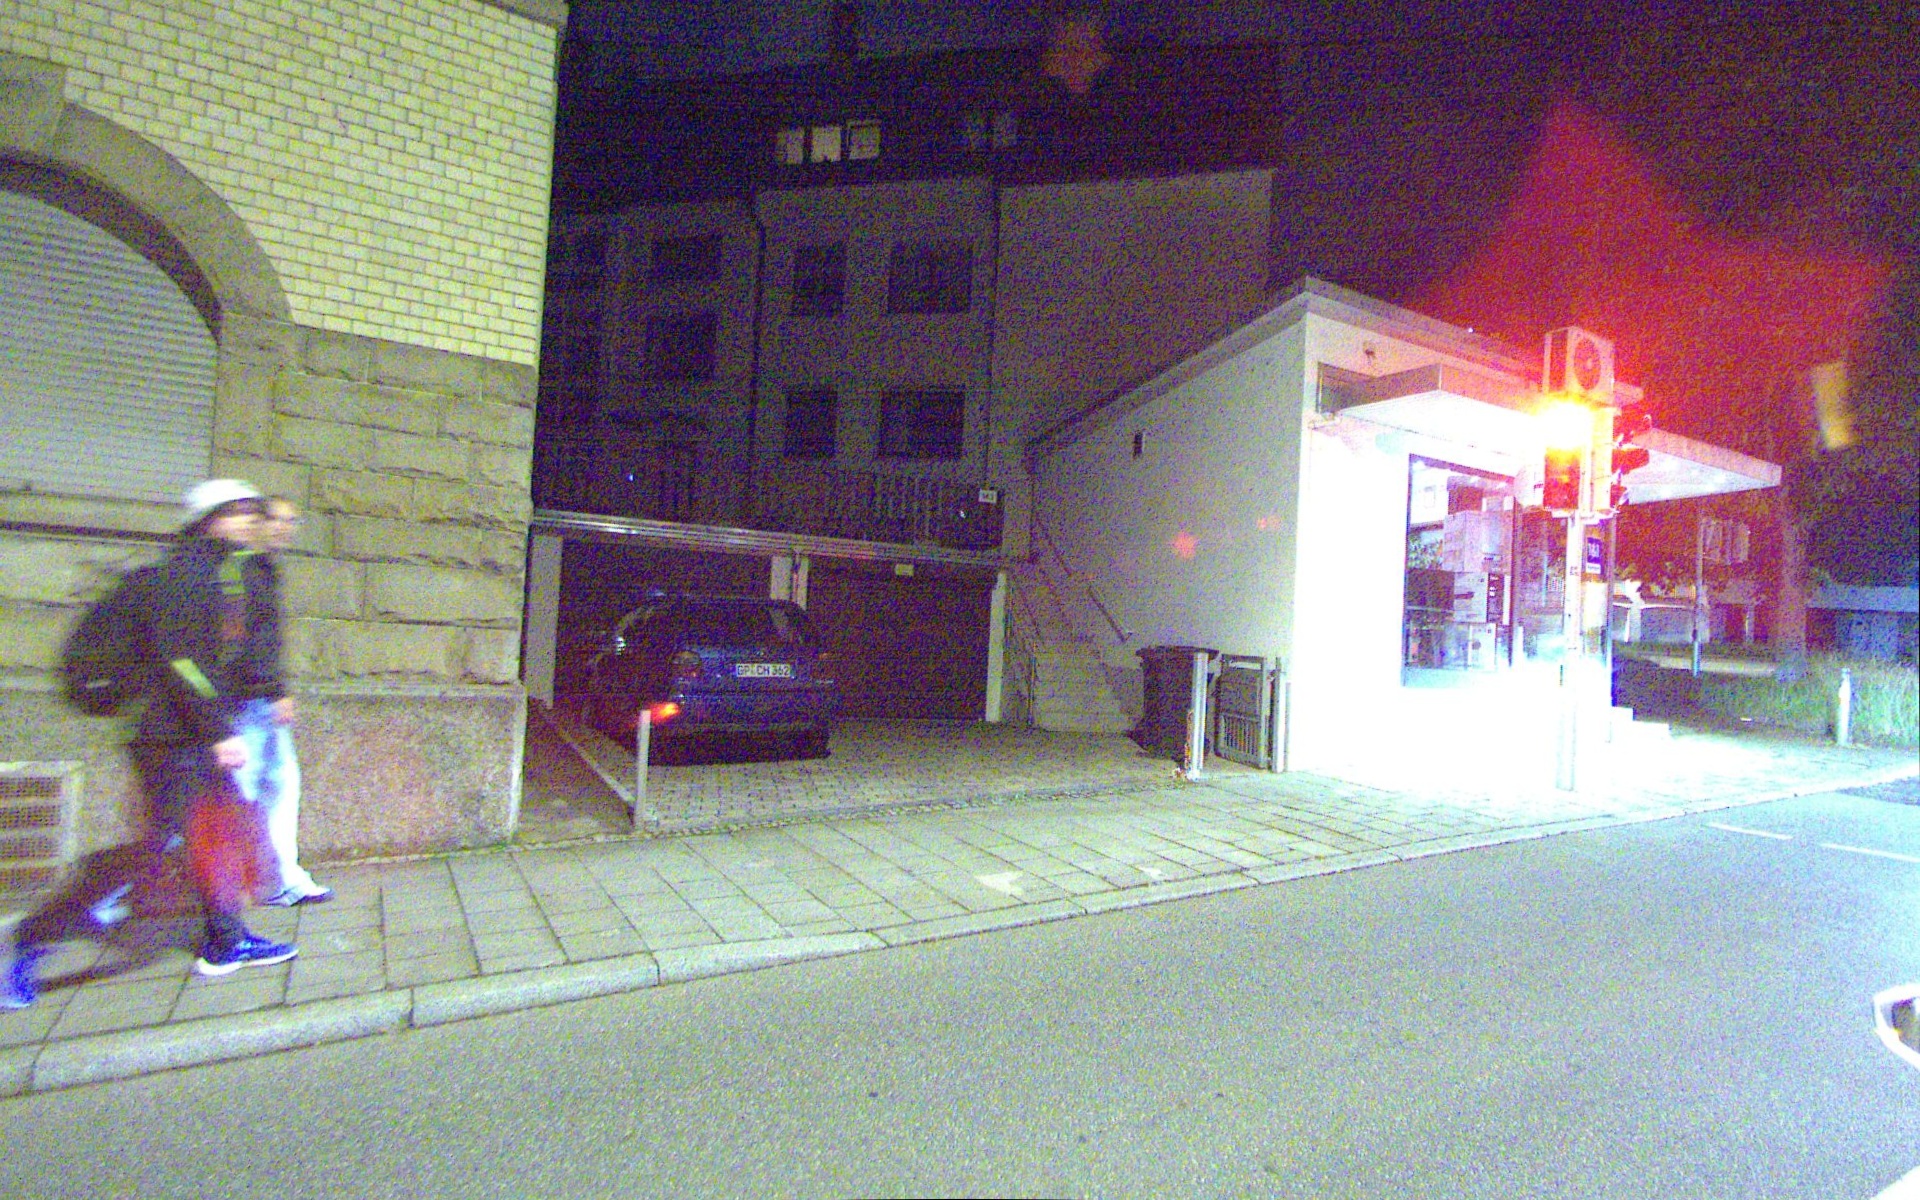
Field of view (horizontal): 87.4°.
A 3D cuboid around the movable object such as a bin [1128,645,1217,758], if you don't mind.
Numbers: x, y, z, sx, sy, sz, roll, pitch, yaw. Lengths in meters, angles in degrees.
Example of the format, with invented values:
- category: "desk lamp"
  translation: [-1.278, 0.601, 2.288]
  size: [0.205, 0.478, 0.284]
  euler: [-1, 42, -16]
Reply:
- category: "movable object such as a bin"
  translation: [2.115, 1.001, 10.032]
  size: [0.643, 1.063, 0.639]
  euler: [2, 0, -12]

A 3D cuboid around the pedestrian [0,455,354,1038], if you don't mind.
- category: "pedestrian"
  translation: [-2.749, 0.452, 3.532]
  size: [1.017, 1.768, 0.672]
  euler: [1, 0, -31]

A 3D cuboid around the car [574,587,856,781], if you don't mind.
- category: "car"
  translation: [-2.454, 0.653, 9.502]
  size: [1.655, 1.470, 3.341]
  euler: [2, -1, -31]

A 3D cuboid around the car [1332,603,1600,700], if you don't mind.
- category: "car"
  translation: [8.916, 0.882, 17.871]
  size: [3.924, 1.539, 1.712]
  euler: [2, 0, -5]

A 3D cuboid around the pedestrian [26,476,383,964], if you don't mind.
- category: "pedestrian"
  translation: [-3.088, 0.444, 4.243]
  size: [1.091, 1.768, 0.738]
  euler: [1, 0, -31]
